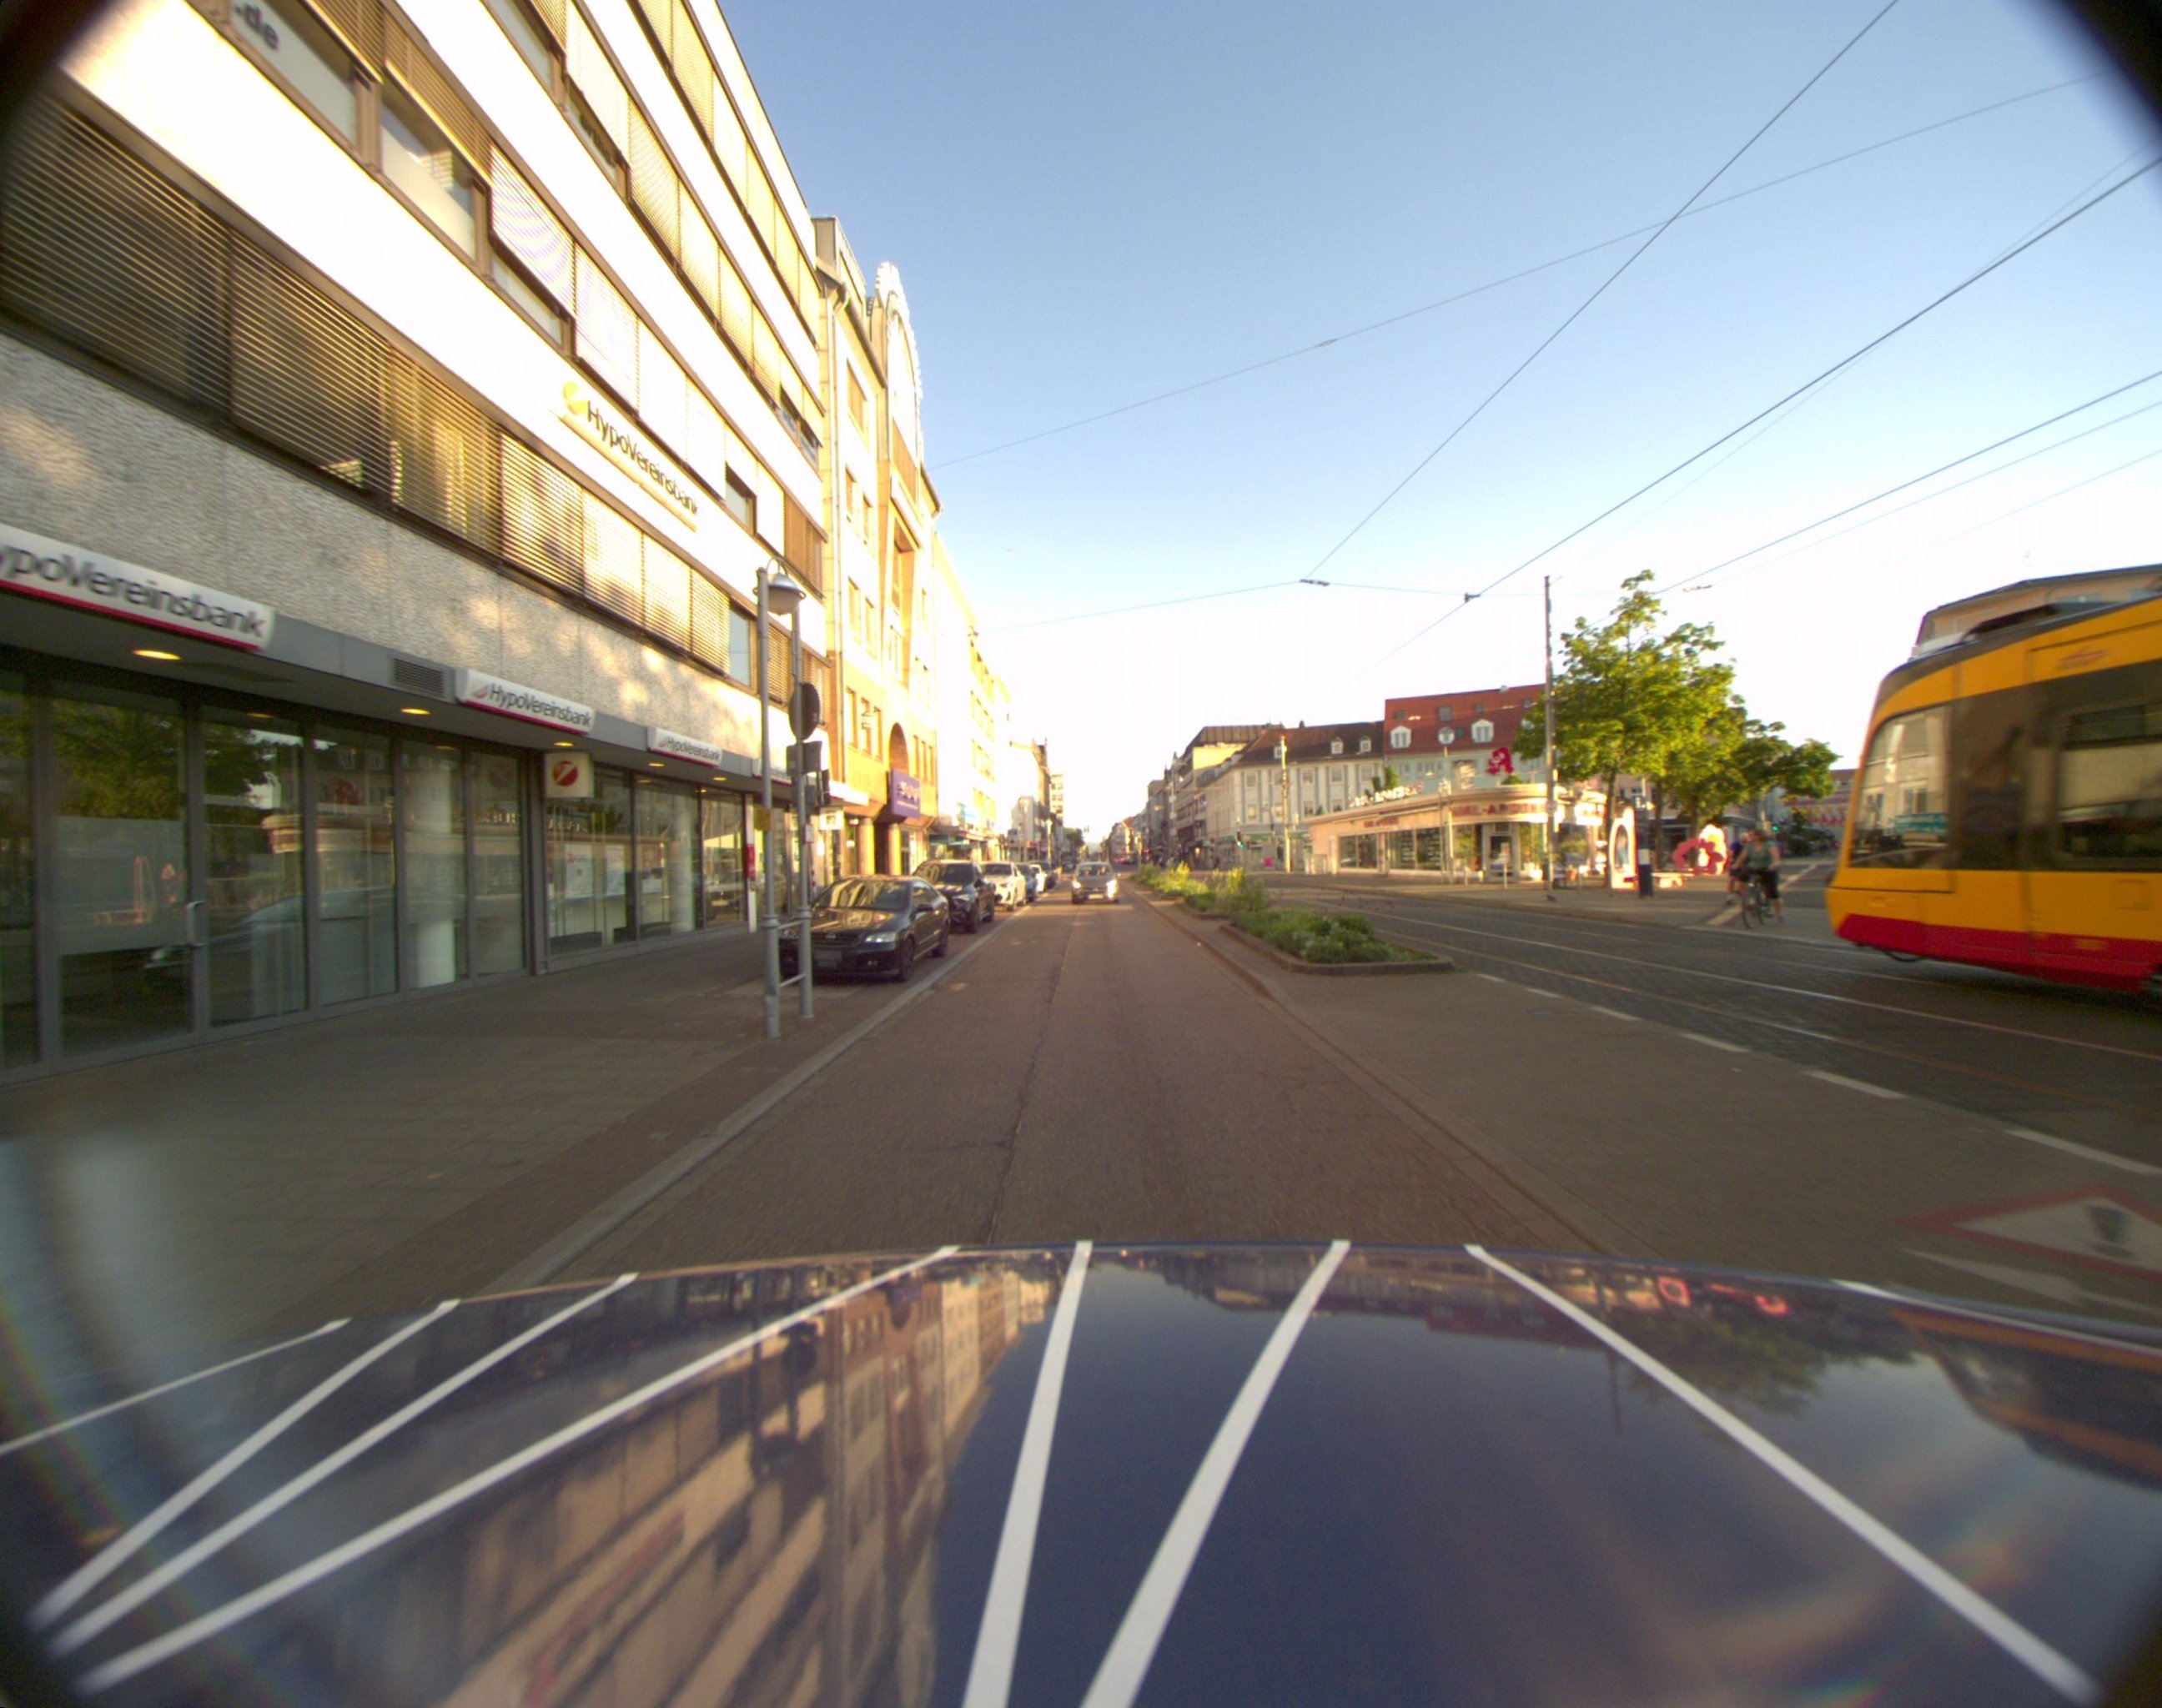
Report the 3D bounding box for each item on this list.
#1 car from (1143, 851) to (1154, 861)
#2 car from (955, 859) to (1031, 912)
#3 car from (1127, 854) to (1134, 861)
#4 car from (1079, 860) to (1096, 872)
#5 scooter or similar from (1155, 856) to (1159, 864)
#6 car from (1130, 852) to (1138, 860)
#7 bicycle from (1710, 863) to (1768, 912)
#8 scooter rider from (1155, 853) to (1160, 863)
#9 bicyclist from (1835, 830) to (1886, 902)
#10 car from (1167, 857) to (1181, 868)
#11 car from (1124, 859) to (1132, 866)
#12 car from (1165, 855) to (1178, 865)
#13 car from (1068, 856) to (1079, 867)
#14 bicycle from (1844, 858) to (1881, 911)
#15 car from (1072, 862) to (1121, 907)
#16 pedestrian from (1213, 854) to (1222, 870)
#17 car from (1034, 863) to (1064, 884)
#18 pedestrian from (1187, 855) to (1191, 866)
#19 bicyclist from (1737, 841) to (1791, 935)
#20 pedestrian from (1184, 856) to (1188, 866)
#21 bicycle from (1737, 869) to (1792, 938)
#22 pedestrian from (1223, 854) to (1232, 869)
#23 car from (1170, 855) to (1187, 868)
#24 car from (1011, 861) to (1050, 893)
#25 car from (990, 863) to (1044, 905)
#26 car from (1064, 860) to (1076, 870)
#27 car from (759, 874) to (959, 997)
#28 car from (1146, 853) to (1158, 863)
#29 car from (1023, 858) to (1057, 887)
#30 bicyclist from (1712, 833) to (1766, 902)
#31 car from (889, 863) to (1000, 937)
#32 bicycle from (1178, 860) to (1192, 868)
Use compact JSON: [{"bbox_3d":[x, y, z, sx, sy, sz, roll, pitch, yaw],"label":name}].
[{"bbox_3d":[14.103,0.429,158.123,1.998,2.047,3.999,-1,2,2],"label":"car"},{"bbox_3d":[-2.845,0.981,25.549,1.821,1.576,4.724,-2,0,2],"label":"car"},{"bbox_3d":[14.753,1.126,226.657,1.974,2.002,3.998,-1,2,-1],"label":"car"},{"bbox_3d":[0.840,1.514,96.359,1.914,1.350,3.747,-3,-1,4],"label":"car"},{"bbox_3d":[12.922,1.086,128.585,0.545,1.342,1.670,-3,-1,4],"label":"scooter or similar"},{"bbox_3d":[16.280,0.663,233.001,1.975,2.181,4.132,-1,2,1],"label":"car"},{"bbox_3d":[15.881,0.777,18.319,1.931,1.105,0.459,-1,1,-30],"label":"bicycle"},{"bbox_3d":[12.920,0.685,128.628,0.813,1.796,0.788,-2,0,1],"label":"scooter rider"},{"bbox_3d":[17.513,0.252,17.081,0.752,1.567,0.704,0,3,43],"label":"bicyclist"},{"bbox_3d":[14.309,1.374,117.074,1.701,1.614,4.000,-2,0,0],"label":"car"},{"bbox_3d":[12.023,2.161,196.464,1.895,1.471,4.545,1,-2,2],"label":"car"},{"bbox_3d":[14.882,0.993,125.271,1.819,1.548,3.999,-1,1,1],"label":"car"},{"bbox_3d":[-1.449,1.507,150.470,2.041,2.105,4.387,-1,0,0],"label":"car"},{"bbox_3d":[17.580,0.662,17.114,0.494,1.105,1.715,0,1,43],"label":"bicycle"},{"bbox_3d":[0.543,1.037,27.437,1.587,1.445,3.842,-1,0,1],"label":"car"},{"bbox_3d":[15.448,0.894,85.961,0.827,1.718,0.814,-3,0,8],"label":"pedestrian"},{"bbox_3d":[-2.185,1.329,53.110,1.677,1.275,4.064,-1,0,4],"label":"car"},{"bbox_3d":[17.258,1.055,120.998,0.515,1.724,0.601,-1,2,1],"label":"pedestrian"},{"bbox_3d":[12.511,0.598,13.915,0.706,1.659,0.626,-3,2,-39],"label":"bicyclist"},{"bbox_3d":[16.679,1.104,120.857,0.509,1.675,0.584,-2,2,0],"label":"pedestrian"},{"bbox_3d":[12.541,0.872,13.925,1.940,1.106,0.459,-2,2,-39],"label":"bicycle"},{"bbox_3d":[16.464,0.827,85.171,0.826,1.631,0.814,-3,3,17],"label":"pedestrian"},{"bbox_3d":[14.235,1.097,111.014,1.915,1.785,4.129,-3,0,0],"label":"car"},{"bbox_3d":[-2.564,1.153,39.528,1.735,1.427,4.151,-1,1,-1],"label":"car"},{"bbox_3d":[-2.589,1.172,31.708,1.814,1.543,4.836,-2,0,0],"label":"car"},{"bbox_3d":[-1.896,1.939,133.448,2.041,1.550,4.387,-1,0,0],"label":"car"},{"bbox_3d":[-3.094,1.058,11.553,1.659,1.372,4.341,2,0,1],"label":"car"},{"bbox_3d":[14.083,0.779,151.183,1.998,2.002,3.999,-1,2,1],"label":"car"},{"bbox_3d":[-2.402,1.064,45.405,1.769,1.595,4.287,-1,0,0],"label":"car"},{"bbox_3d":[15.888,0.310,18.354,0.804,1.602,0.737,-2,2,-30],"label":"bicyclist"},{"bbox_3d":[-3.151,1.041,18.424,1.780,1.529,4.579,-1,-2,1],"label":"car"},{"bbox_3d":[13.468,1.295,98.243,1.740,1.052,0.499,-1,-1,9],"label":"bicycle"}]
